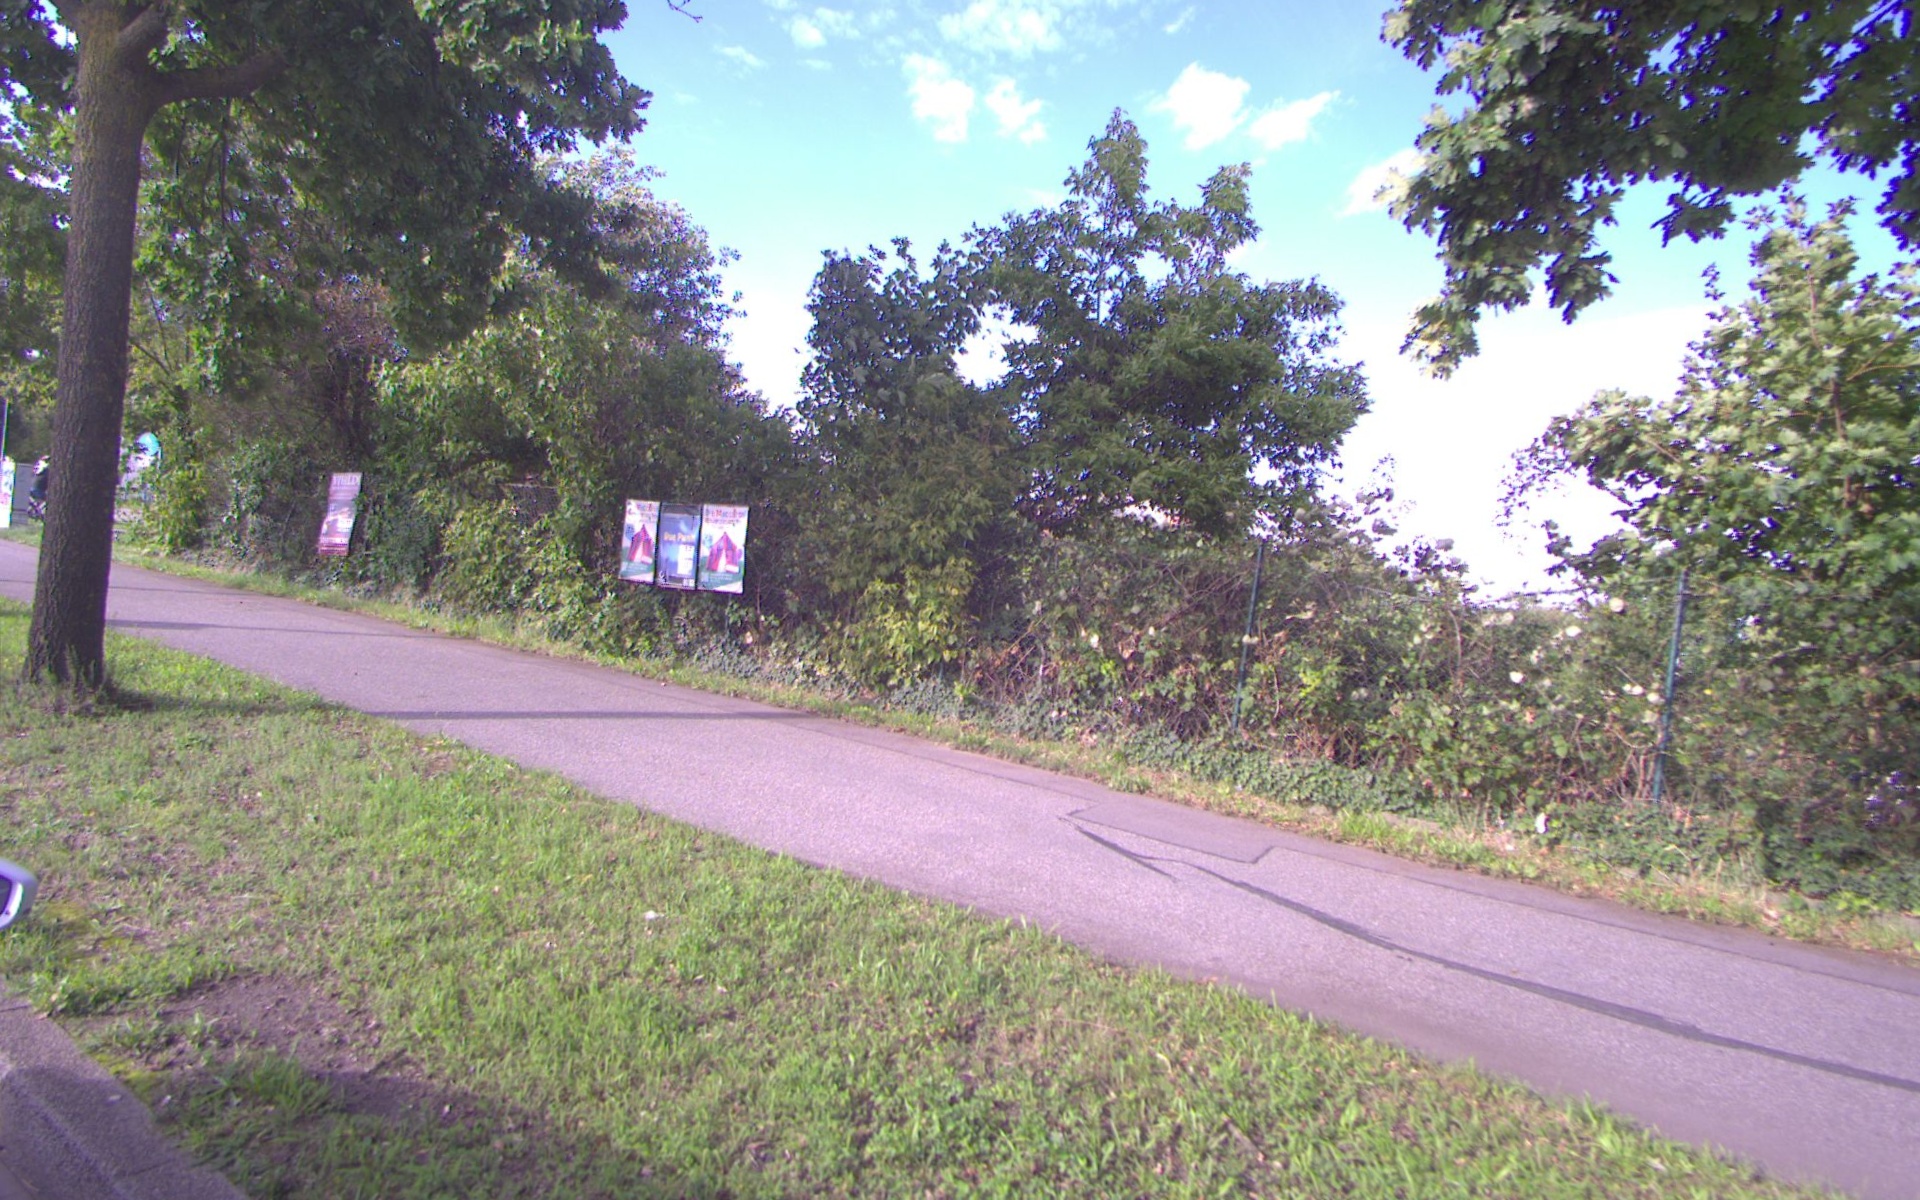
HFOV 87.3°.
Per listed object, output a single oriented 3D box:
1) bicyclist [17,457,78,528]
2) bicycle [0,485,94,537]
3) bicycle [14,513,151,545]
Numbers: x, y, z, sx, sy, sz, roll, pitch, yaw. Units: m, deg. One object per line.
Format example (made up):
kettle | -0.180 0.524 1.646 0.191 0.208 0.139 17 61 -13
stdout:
bicyclist | -23.568 -2.769 25.987 0.673 1.668 0.832 7 1 20
bicycle | -23.642 -2.281 25.964 0.697 1.063 1.776 7 0 20
bicycle | -20.862 -1.691 23.928 2.529 0.390 1.411 7 0 21
